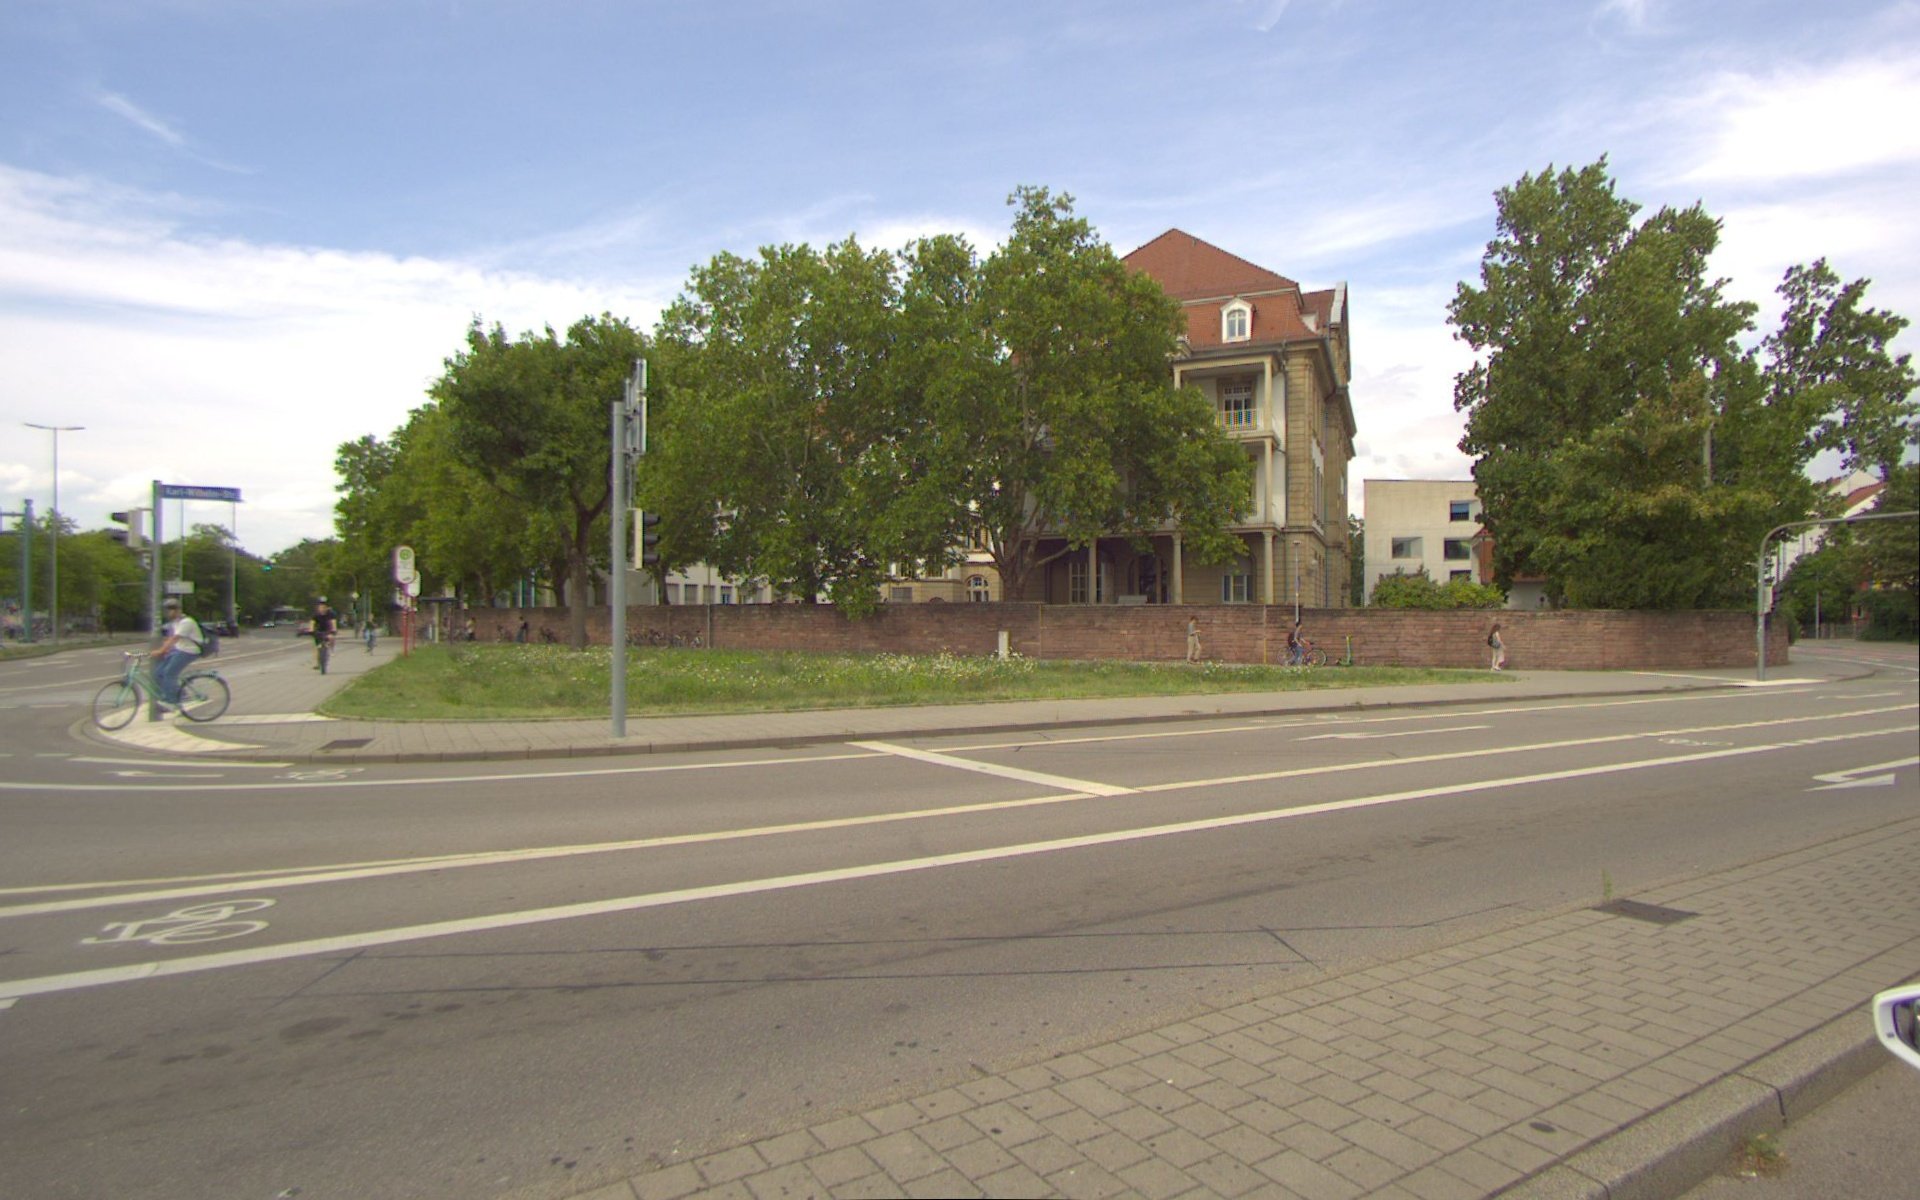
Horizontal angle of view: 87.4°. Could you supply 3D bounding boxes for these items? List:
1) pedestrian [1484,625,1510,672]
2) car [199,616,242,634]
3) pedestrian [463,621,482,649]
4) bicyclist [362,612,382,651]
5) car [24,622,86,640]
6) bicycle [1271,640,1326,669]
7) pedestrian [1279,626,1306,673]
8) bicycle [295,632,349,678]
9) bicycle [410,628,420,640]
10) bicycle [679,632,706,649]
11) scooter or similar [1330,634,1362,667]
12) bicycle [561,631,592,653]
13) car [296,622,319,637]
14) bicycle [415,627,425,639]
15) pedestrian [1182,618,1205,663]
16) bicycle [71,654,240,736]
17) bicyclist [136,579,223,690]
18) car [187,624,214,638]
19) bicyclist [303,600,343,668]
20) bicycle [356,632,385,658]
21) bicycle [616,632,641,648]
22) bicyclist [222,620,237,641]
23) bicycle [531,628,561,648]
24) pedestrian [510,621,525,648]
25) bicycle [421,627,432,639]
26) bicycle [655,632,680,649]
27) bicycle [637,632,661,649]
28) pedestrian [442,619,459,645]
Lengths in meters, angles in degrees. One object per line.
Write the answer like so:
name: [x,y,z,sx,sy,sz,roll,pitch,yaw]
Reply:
pedestrian: [19.630,1.780,36.707,0.618,1.677,0.531,-2,1,-3]
car: [-66.789,2.258,90.715,4.058,1.509,1.786,1,-2,32]
pedestrian: [-29.094,2.085,59.919,0.655,1.643,0.751,-1,1,38]
bicyclist: [-24.372,1.313,41.635,0.486,1.576,0.795,0,1,-14]
car: [-83.549,2.893,92.754,4.048,1.509,1.791,2,-1,2]
bicycle: [12.737,2.068,37.853,1.888,1.018,0.779,-2,0,17]
pedestrian: [12.073,1.789,36.457,0.766,1.677,0.577,-2,1,2]
bicycle: [-15.175,1.278,23.938,0.497,0.948,1.965,0,1,-14]
bicycle: [-44.060,2.749,81.217,0.429,0.899,1.558,-4,1,-39]
bicycle: [-13.847,2.088,51.890,1.681,0.875,0.357,-1,-3,36]
scooter or similar: [14.383,1.869,37.422,0.513,1.154,1.509,-1,1,45]
bicycle: [-22.116,2.404,57.891,2.067,1.204,0.755,-1,-3,40]
car: [-71.031,3.235,109.420,1.679,1.500,4.384,-2,0,-28]
bicycle: [-42.879,2.626,79.765,0.429,0.899,1.558,-4,1,-39]
pedestrian: [8.897,1.549,38.337,0.766,1.677,0.577,-1,1,7]
bicycle: [-11.484,1.329,14.429,0.496,0.948,1.972,1,1,15]
bicyclist: [-11.399,0.484,14.687,0.568,1.576,0.798,1,1,15]
car: [-85.392,3.485,112.937,1.768,1.509,4.100,2,-2,-28]
bicyclist: [-15.170,0.804,23.926,0.570,1.576,0.795,0,1,-14]
bicycle: [-24.355,1.868,41.538,0.497,0.948,1.965,0,1,-14]
bicycle: [-18.118,2.191,54.869,1.794,0.875,0.357,-1,-3,39]
bicyclist: [-63.010,2.626,86.671,0.768,1.733,1.079,2,-3,-26]
bicycle: [-24.900,2.271,60.445,2.067,1.204,0.755,-1,-3,40]
pedestrian: [-27.481,2.158,62.412,0.743,1.643,0.566,-1,1,40]
bicycle: [-41.705,2.598,78.516,0.429,0.899,1.558,-4,1,-39]
bicycle: [-15.297,2.127,52.526,1.864,0.875,0.357,-2,-4,43]
bicycle: [-16.665,2.161,53.779,1.783,0.875,0.357,-1,-4,42]
pedestrian: [-33.835,2.118,66.731,0.655,1.643,0.751,-1,1,38]
